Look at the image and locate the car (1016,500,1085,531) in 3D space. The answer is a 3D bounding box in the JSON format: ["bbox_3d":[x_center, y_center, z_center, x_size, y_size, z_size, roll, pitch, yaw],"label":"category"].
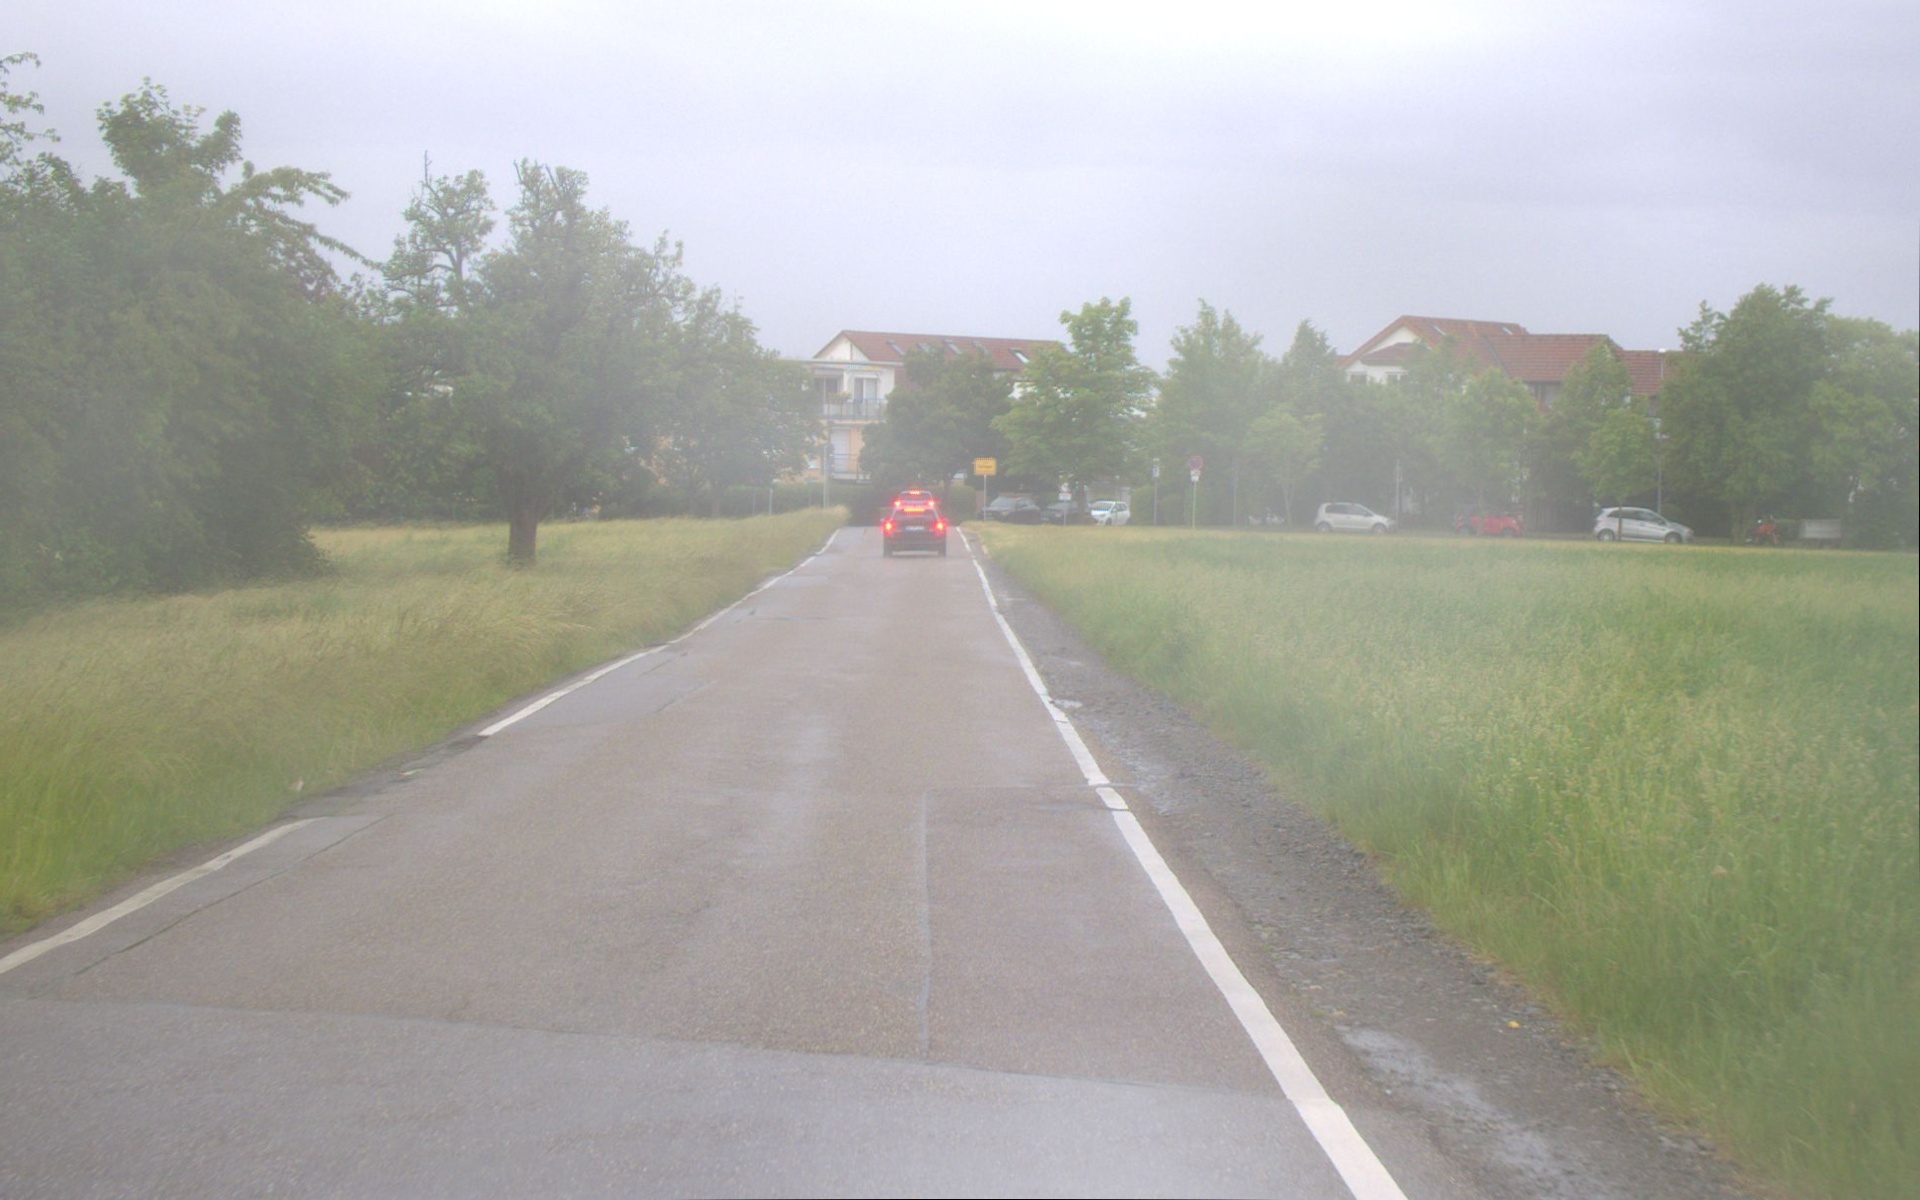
[{"bbox_3d":[4.785,-4.456,181.713,1.664,1.541,3.992,1,0,35],"label":"car"}]

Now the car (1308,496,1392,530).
[{"bbox_3d":[16.805,-3.755,148.130,3.392,1.366,1.547,1,0,13],"label":"car"}]

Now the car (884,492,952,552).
[{"bbox_3d":[-1.167,-2.170,96.996,1.814,1.588,4.000,1,0,1],"label":"car"}]

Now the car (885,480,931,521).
[{"bbox_3d":[-2.172,-4.162,144.361,1.814,1.588,4.000,1,0,1],"label":"car"}]

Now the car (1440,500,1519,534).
[{"bbox_3d":[22.195,-3.551,146.791,3.194,1.366,1.571,1,0,13],"label":"car"}]

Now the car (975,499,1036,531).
[{"bbox_3d":[2.345,-4.388,177.248,1.663,1.541,3.995,1,0,24],"label":"car"}]

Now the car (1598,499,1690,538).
[{"bbox_3d":[28.863,-3.450,145.040,3.711,1.558,1.609,1,0,13],"label":"car"}]
